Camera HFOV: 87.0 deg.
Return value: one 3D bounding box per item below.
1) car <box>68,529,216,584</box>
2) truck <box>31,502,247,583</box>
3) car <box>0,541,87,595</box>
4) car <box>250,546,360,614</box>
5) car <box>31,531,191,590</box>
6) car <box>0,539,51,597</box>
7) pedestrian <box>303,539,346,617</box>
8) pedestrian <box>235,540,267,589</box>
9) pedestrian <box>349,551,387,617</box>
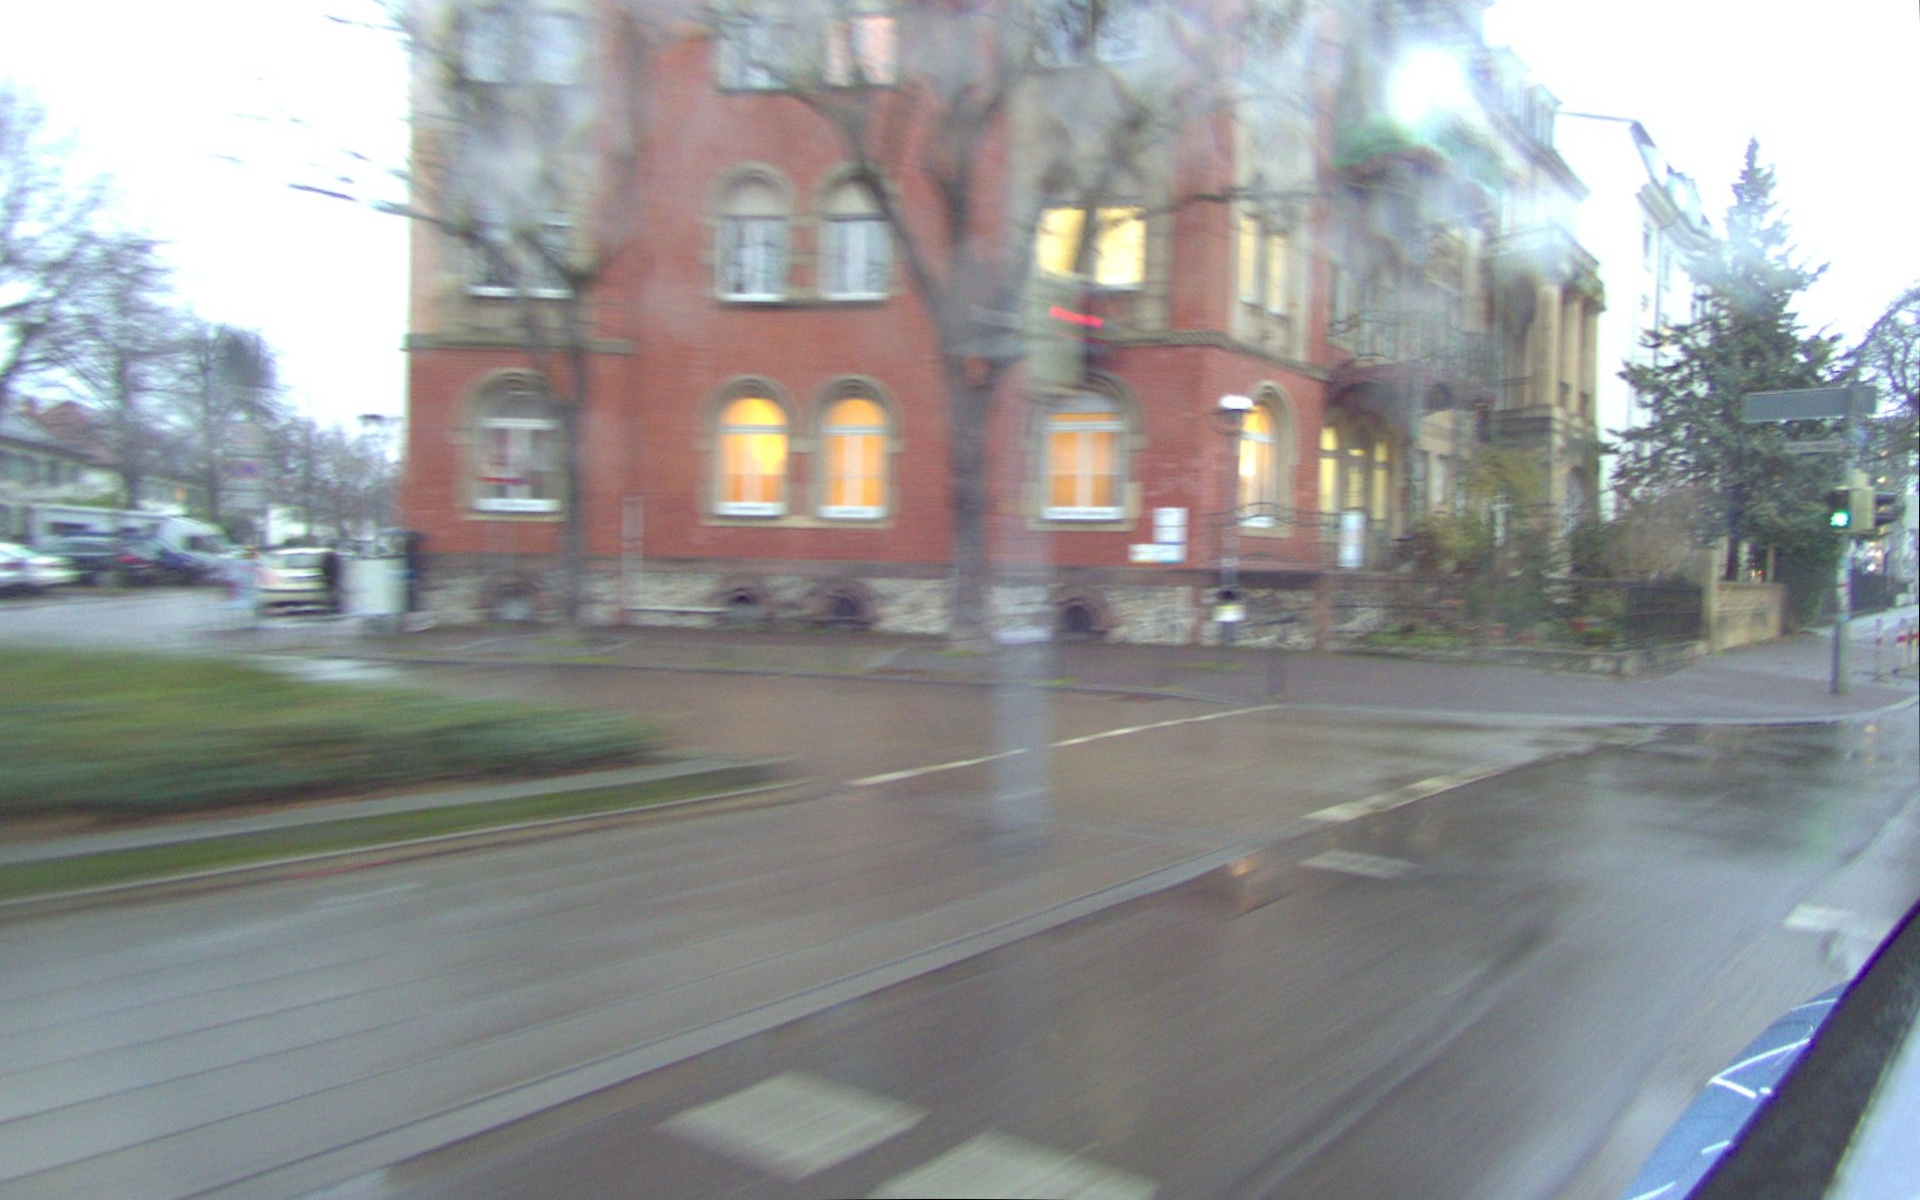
[{"bbox_3d":[-32.390,-1.718,40.249,4.239,2.038,2.004,0,2,-27],"label":"car"},{"bbox_3d":[-34.242,-2.357,42.541,6.594,3.130,2.638,0,2,-25],"label":"truck"},{"bbox_3d":[-27.868,-0.931,28.979,3.916,1.494,1.855,0,2,-16],"label":"car"},{"bbox_3d":[-15.747,-0.522,24.506,1.613,1.514,4.009,1,2,-24],"label":"car"},{"bbox_3d":[-29.910,-1.380,35.779,3.916,1.957,1.855,1,2,-16],"label":"car"},{"bbox_3d":[-26.727,-0.878,26.522,3.916,1.494,1.855,0,2,-16],"label":"car"},{"bbox_3d":[-12.843,-0.432,20.467,0.630,1.546,0.548,0,0,-22],"label":"pedestrian"},{"bbox_3d":[-28.030,-1.401,39.998,0.797,1.887,0.880,0,2,-17],"label":"pedestrian"},{"bbox_3d":[-12.120,-0.331,20.743,0.596,1.333,0.548,0,0,-22],"label":"pedestrian"}]
